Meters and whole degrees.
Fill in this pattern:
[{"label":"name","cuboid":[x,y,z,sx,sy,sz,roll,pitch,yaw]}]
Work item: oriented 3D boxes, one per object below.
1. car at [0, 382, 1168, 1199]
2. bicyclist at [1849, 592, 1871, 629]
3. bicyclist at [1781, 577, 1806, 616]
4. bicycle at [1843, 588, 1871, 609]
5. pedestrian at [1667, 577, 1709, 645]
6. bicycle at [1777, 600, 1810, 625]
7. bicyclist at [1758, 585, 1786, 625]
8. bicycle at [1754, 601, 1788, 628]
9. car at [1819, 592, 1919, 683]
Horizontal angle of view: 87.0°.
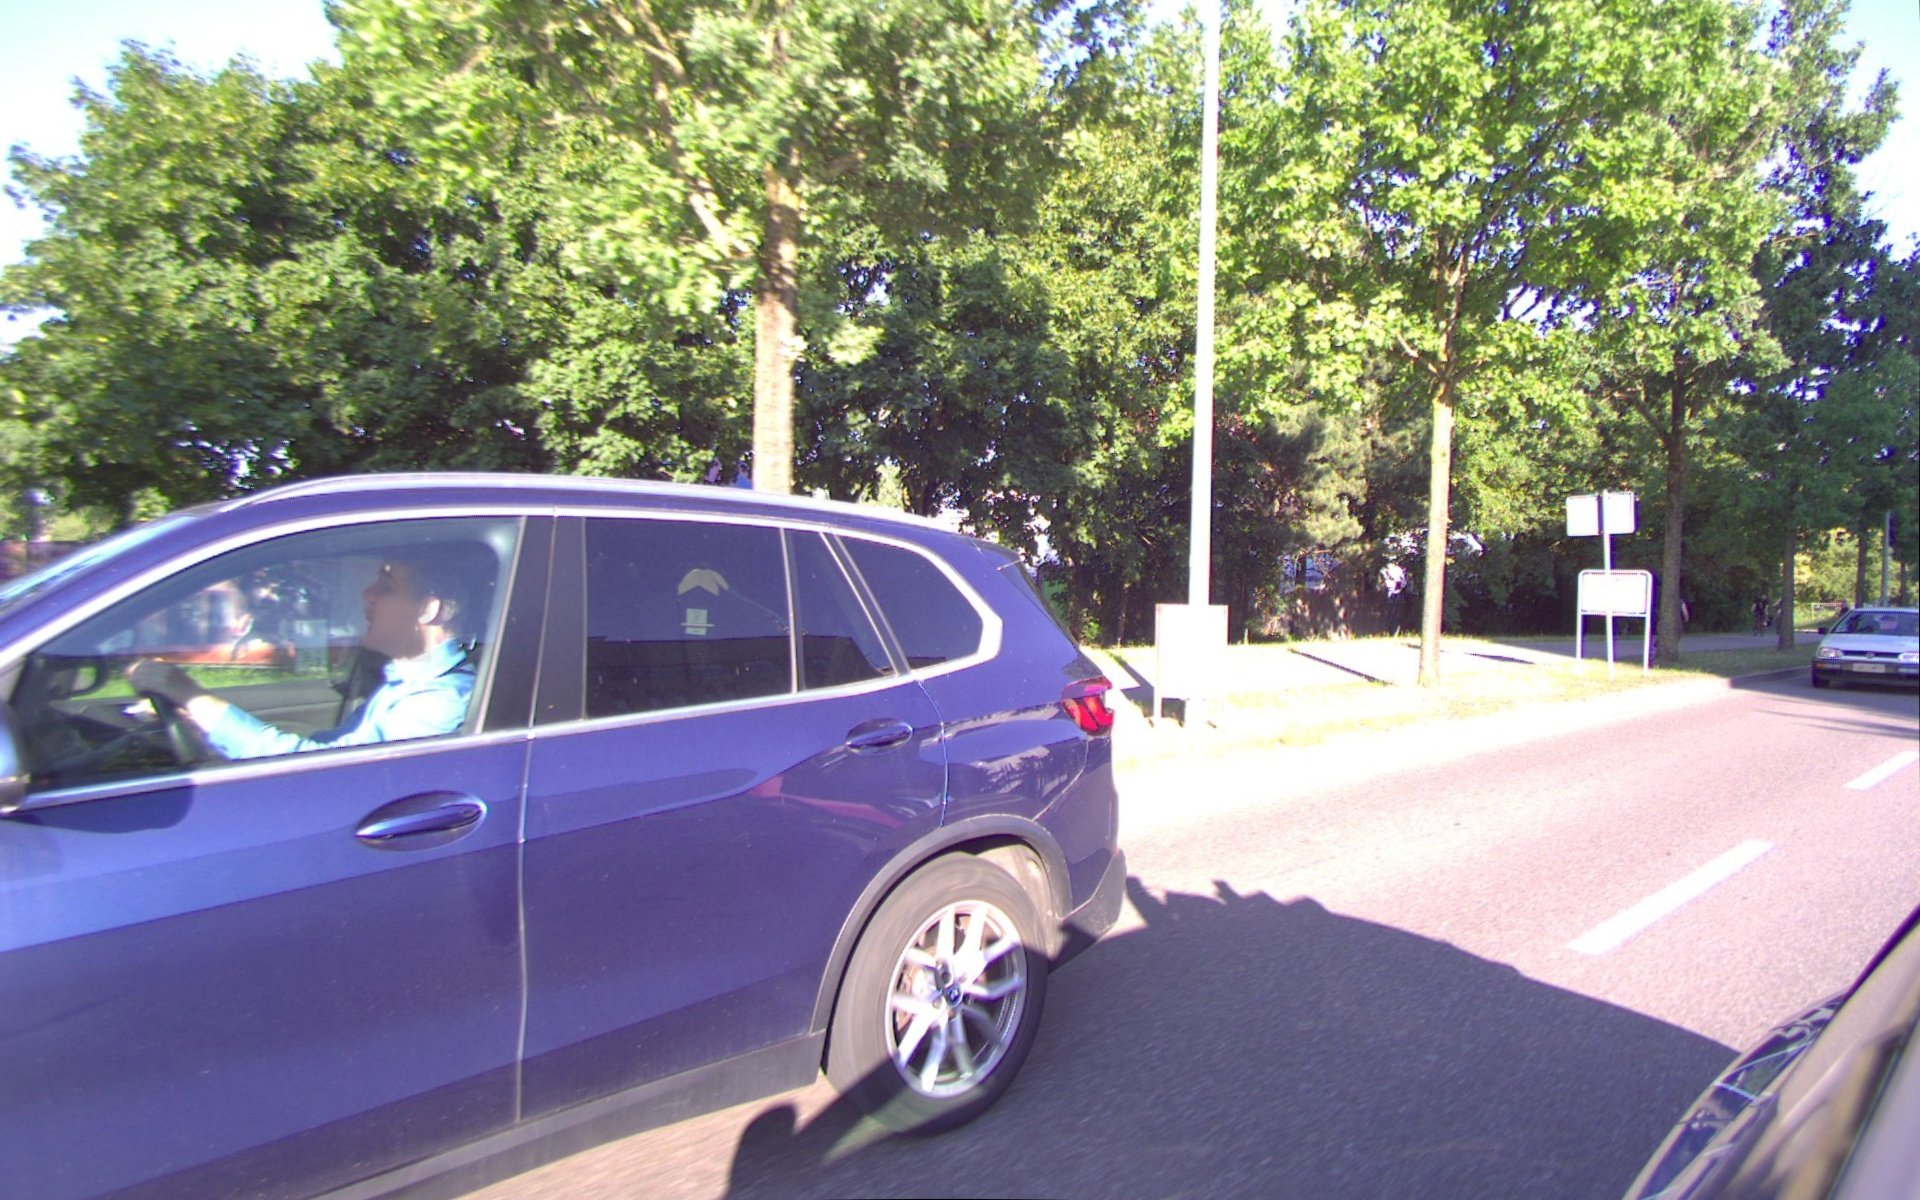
[{"label":"car","cuboid":[-1.712,0.532,2.562,4.616,1.748,1.959,-1,1,-40]},{"label":"bicyclist","cuboid":[43.234,0.485,48.626,0.832,1.755,0.605,1,1,-38]},{"label":"bicyclist","cuboid":[34.732,-0.132,42.152,0.832,1.598,0.605,1,1,-38]},{"label":"bicycle","cuboid":[42.778,-0.058,48.246,2.021,0.986,0.618,0,1,-38]},{"label":"pedestrian","cuboid":[17.715,0.245,24.622,0.670,1.592,0.897,4,3,42]},{"label":"bicycle","cuboid":[34.708,0.505,42.136,2.021,0.986,0.618,0,1,-38]},{"label":"bicyclist","cuboid":[31.261,0.191,38.964,0.832,1.520,0.615,1,1,-38]},{"label":"bicycle","cuboid":[31.218,0.541,38.955,1.788,0.986,0.618,0,1,-38]},{"label":"car","cuboid":[16.459,0.631,17.549,3.964,1.416,1.615,2,0,-38]}]
